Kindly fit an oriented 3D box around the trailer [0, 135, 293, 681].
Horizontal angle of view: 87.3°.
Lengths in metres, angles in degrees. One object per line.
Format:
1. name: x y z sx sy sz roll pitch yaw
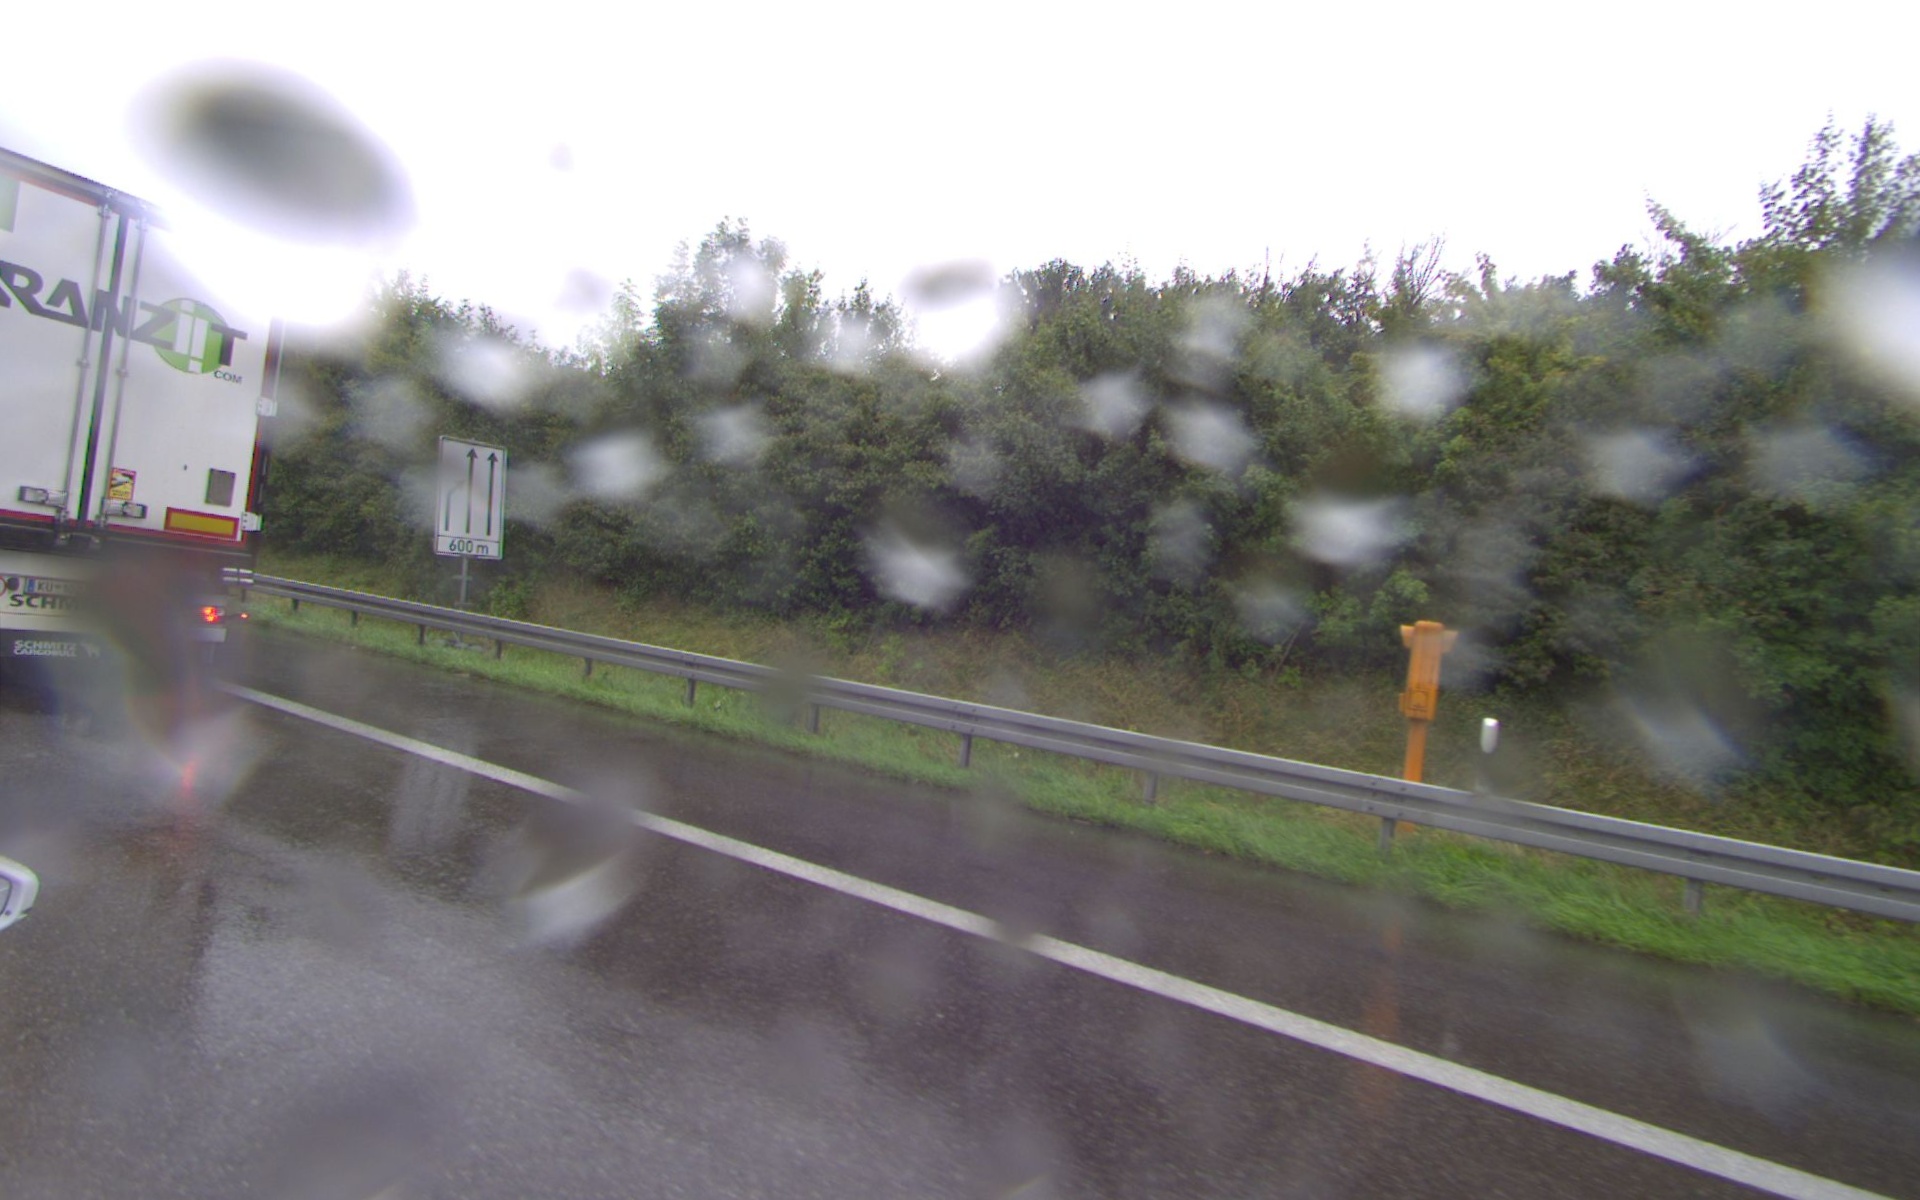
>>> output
1. trailer: -13.097 -2.122 11.921 14.387 4.061 2.634 7 0 32
